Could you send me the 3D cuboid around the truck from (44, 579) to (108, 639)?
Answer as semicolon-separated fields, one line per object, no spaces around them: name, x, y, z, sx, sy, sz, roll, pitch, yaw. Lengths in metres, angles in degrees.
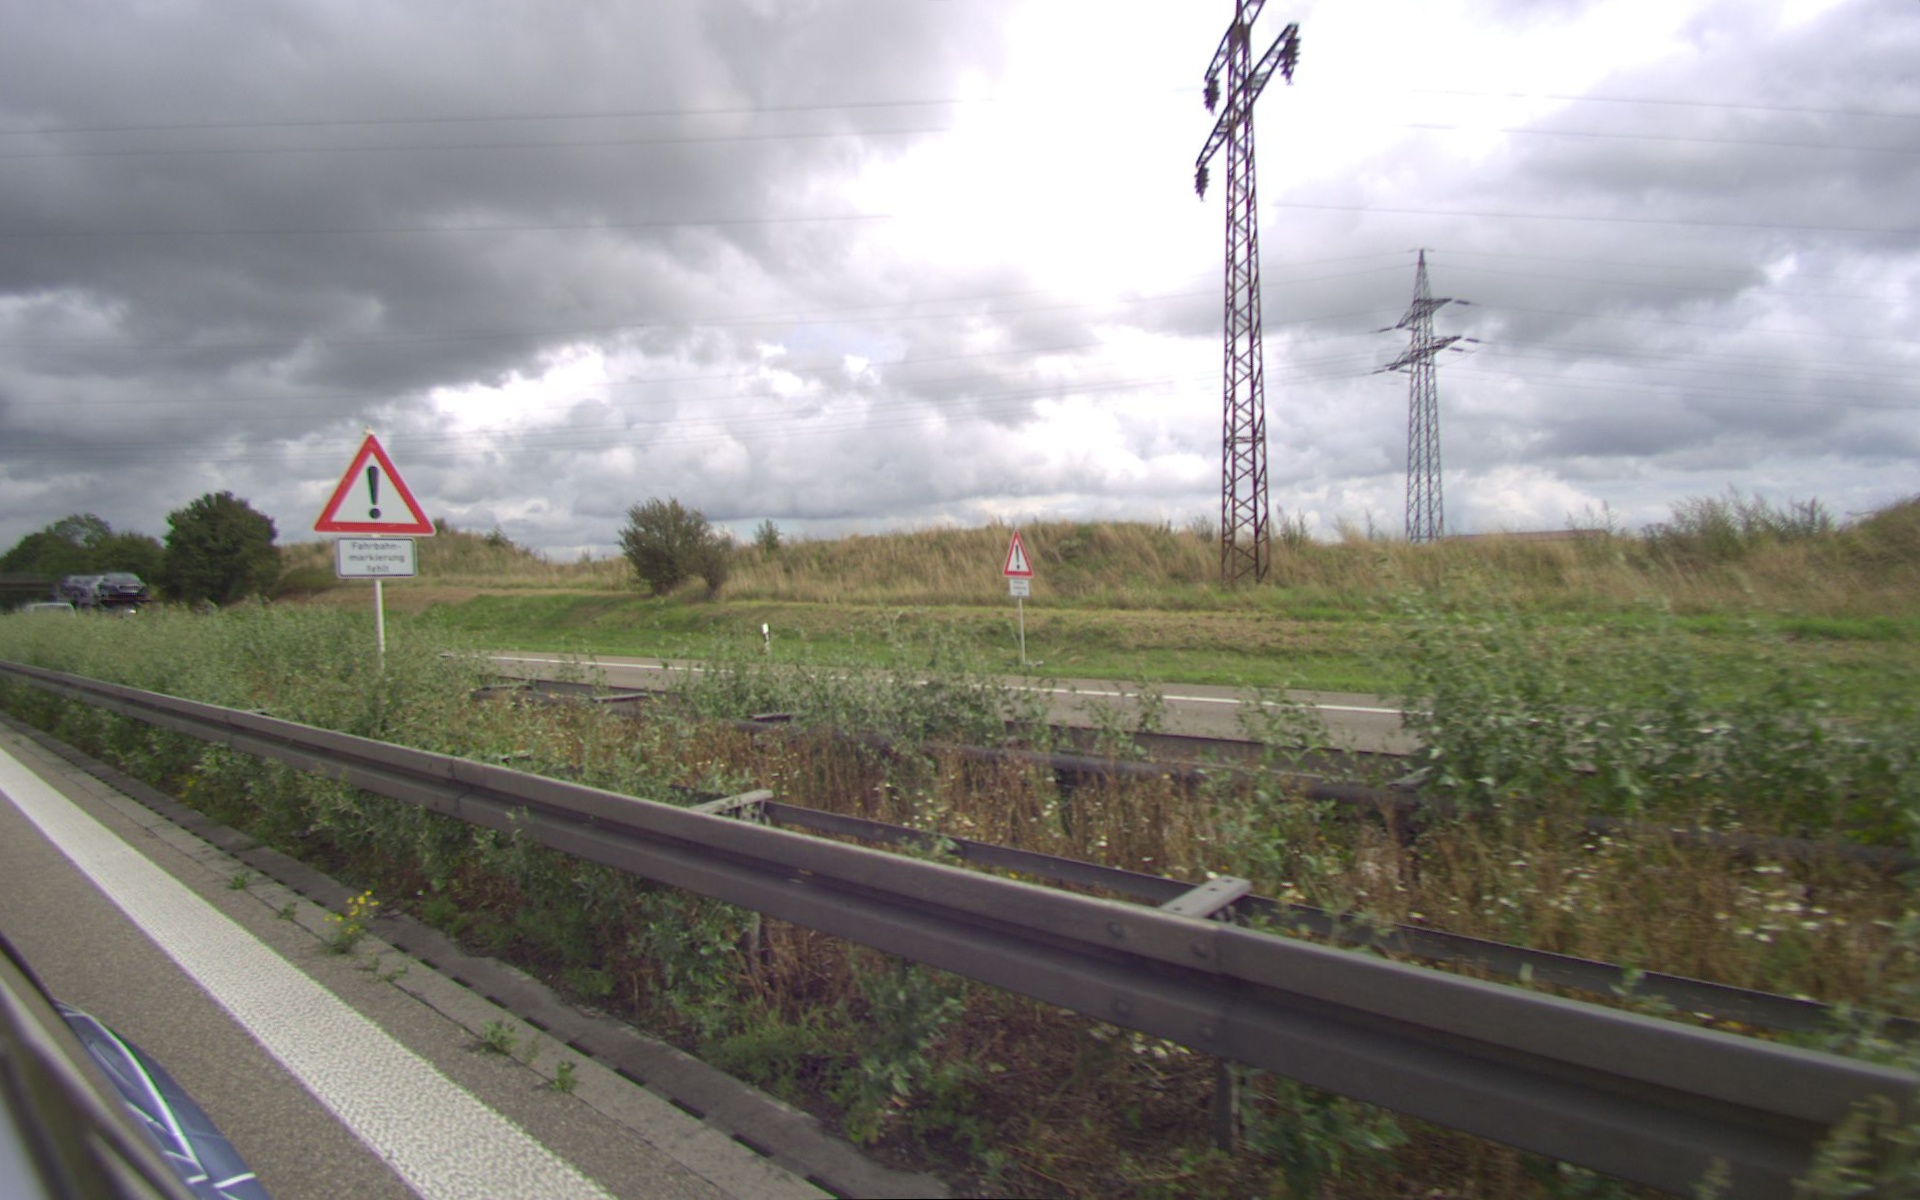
truck;-61.471;0.634;70.336;5.985;3.966;2.694;-1;-1;42

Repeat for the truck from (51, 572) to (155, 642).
truck;-54.275;0.536;63.793;17.396;3.966;2.694;-1;-1;42

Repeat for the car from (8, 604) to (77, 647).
car;-45.354;1.224;50.013;5.030;2.029;1.973;-1;0;41
